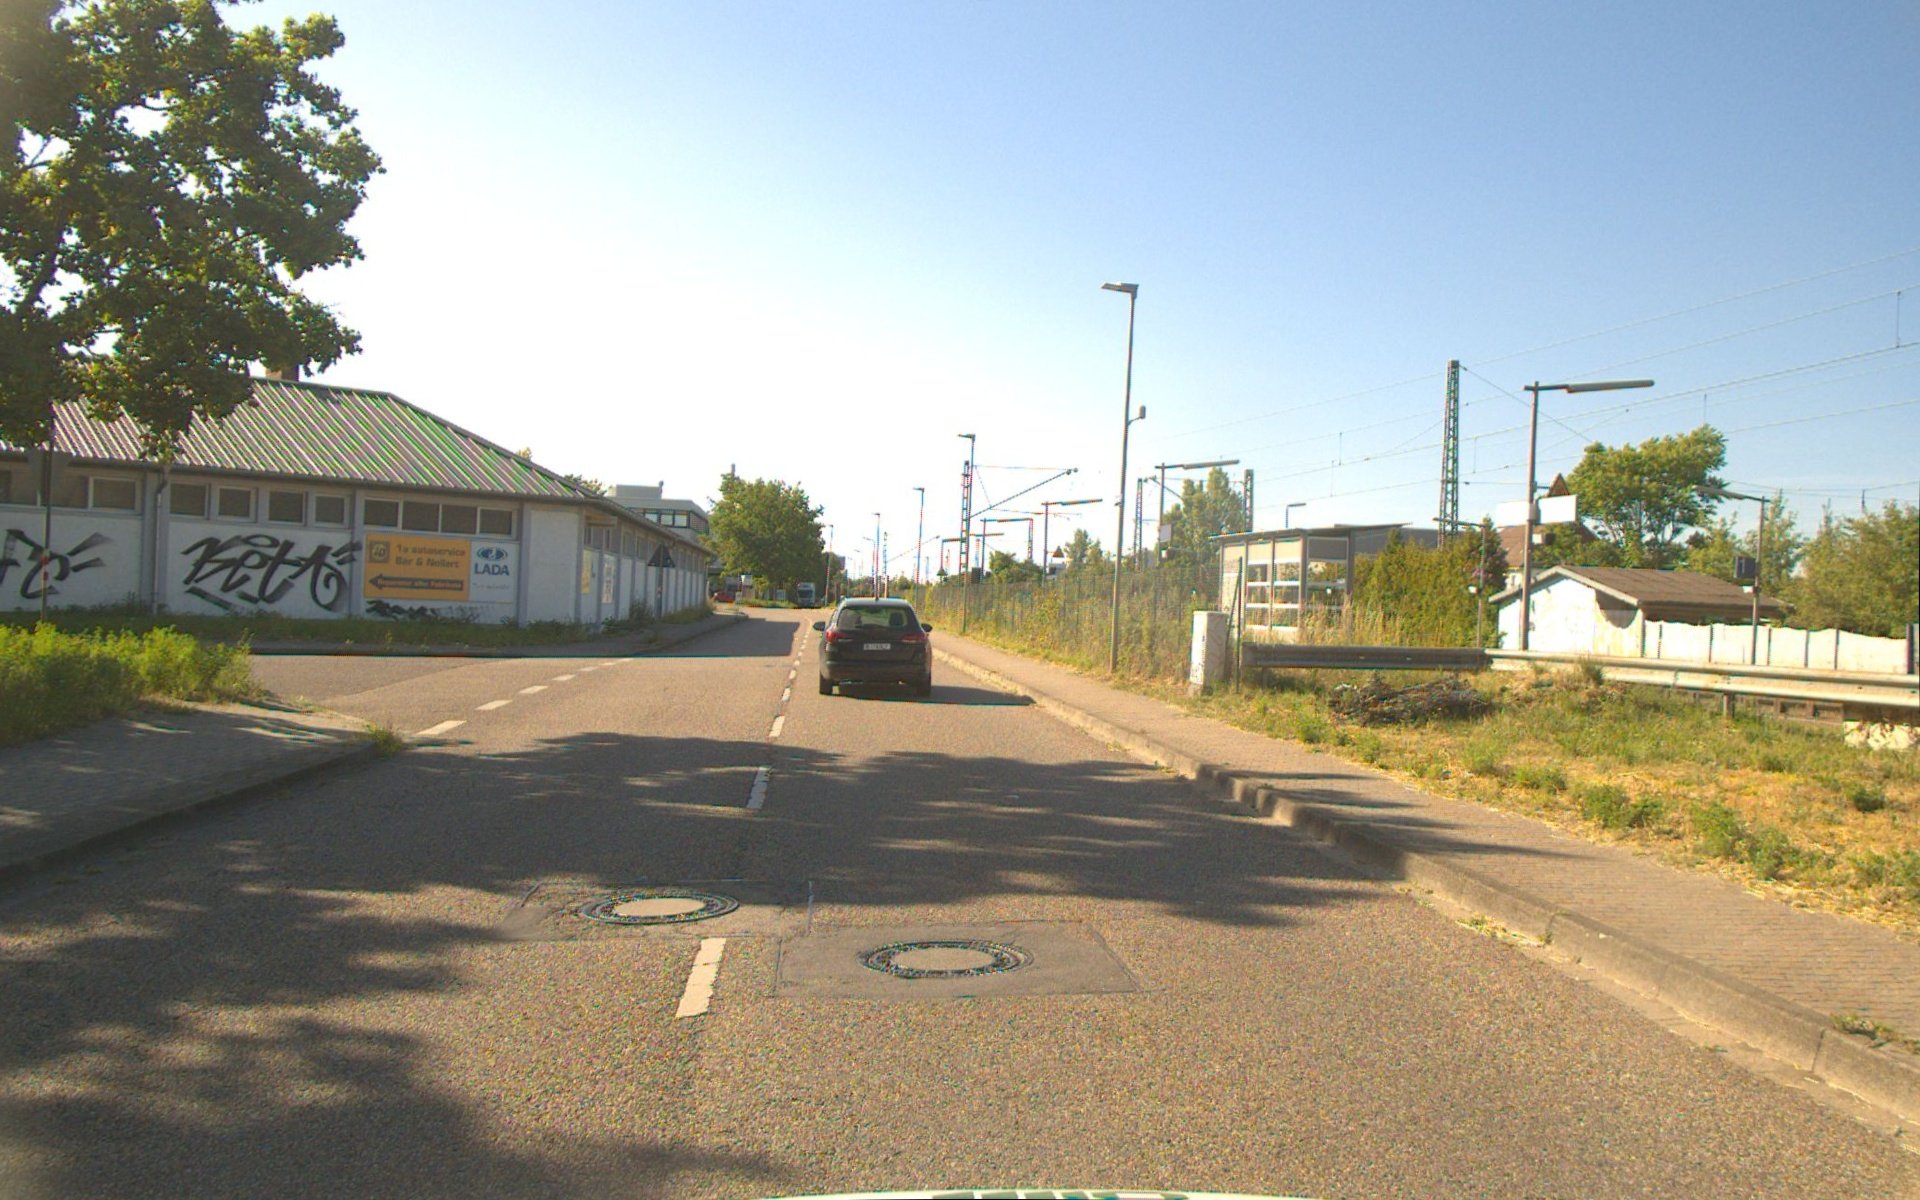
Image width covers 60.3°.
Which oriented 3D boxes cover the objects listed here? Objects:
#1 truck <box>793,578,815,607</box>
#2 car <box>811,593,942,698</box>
[{"bbox_3d":[-22.177,-1.050,234.620,2.563,3.953,13.511,3,0,-7],"label":"truck"},{"bbox_3d":[-1.428,0.682,26.618,1.904,1.515,4.560,1,0,-5],"label":"car"}]
